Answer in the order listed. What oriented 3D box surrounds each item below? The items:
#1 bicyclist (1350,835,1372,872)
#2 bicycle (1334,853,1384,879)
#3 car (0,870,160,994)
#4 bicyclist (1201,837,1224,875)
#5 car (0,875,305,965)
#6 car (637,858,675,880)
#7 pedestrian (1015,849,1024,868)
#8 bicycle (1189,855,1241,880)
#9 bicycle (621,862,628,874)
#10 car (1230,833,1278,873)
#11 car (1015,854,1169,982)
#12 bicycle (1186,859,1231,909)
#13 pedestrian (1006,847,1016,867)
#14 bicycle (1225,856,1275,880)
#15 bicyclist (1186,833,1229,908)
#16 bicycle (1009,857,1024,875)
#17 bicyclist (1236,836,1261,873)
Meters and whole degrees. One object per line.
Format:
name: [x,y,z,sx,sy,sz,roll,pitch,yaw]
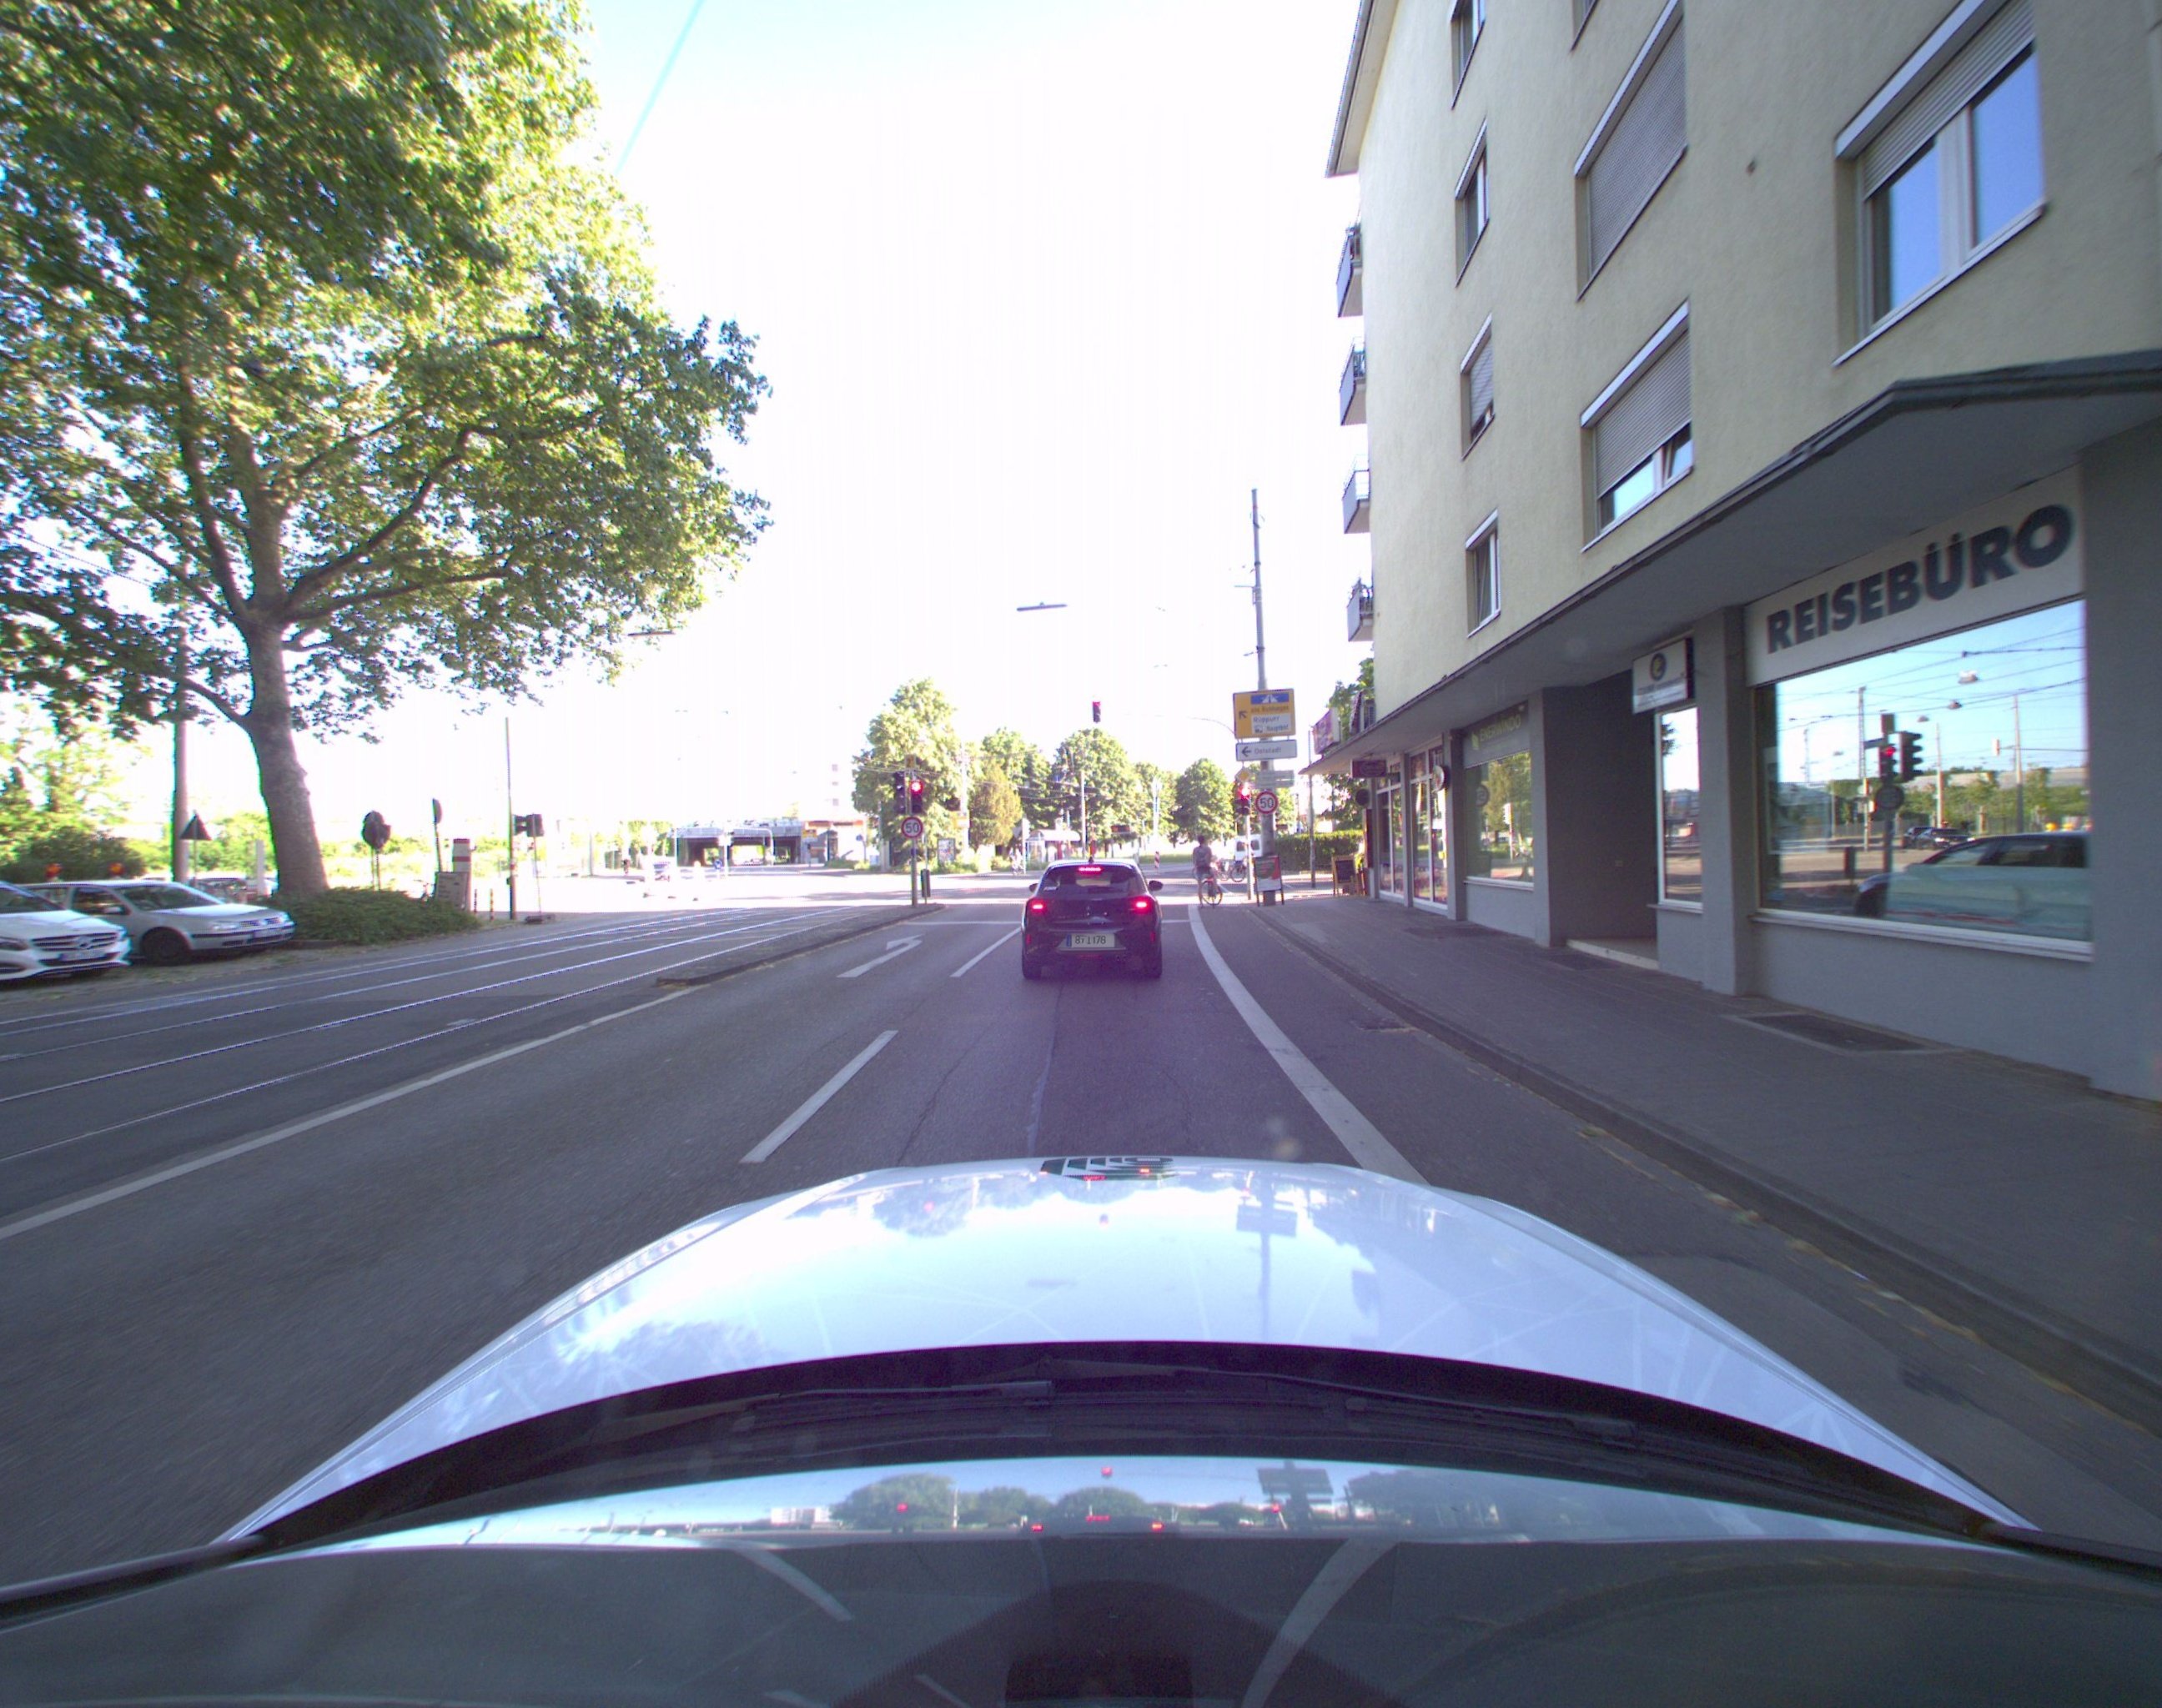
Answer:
bicyclist: [12.379,-0.013,36.056,0.854,1.595,0.652,-2,0,15]
bicycle: [12.290,0.531,36.084,2.039,1.094,0.595,-2,0,15]
car: [-16.780,1.059,11.898,4.593,1.618,1.799,0,0,1]
bicyclist: [6.109,0.100,37.799,0.920,1.707,0.879,-2,0,14]
car: [-16.783,1.126,14.402,4.496,1.429,1.676,0,0,1]
car: [-30.854,1.064,59.228,1.830,1.519,3.870,1,0,-18]
pedestrian: [-5.218,0.357,69.481,0.633,1.630,0.573,0,-1,9]
bicycle: [6.225,0.627,37.779,2.276,1.084,0.804,-2,0,14]
bicycle: [-44.528,1.358,79.450,0.585,1.060,2.022,-2,0,-30]
car: [10.523,-0.099,49.269,2.046,2.248,4.912,-1,0,20]
car: [0.210,0.722,11.289,1.720,1.429,4.189,-1,0,2]
bicycle: [3.243,0.740,20.902,0.857,1.153,2.173,-2,0,2]
pedestrian: [-6.002,0.255,69.693,0.746,1.630,0.599,0,-1,9]
bicycle: [7.293,0.613,35.153,2.044,0.984,0.675,-2,0,13]
bicyclist: [3.229,0.420,20.811,0.938,1.851,0.864,-2,0,1]
bicycle: [-3.928,0.727,49.707,0.603,1.031,1.983,-1,0,2]
bicyclist: [7.240,0.028,35.134,1.003,1.570,0.802,-2,0,13]
